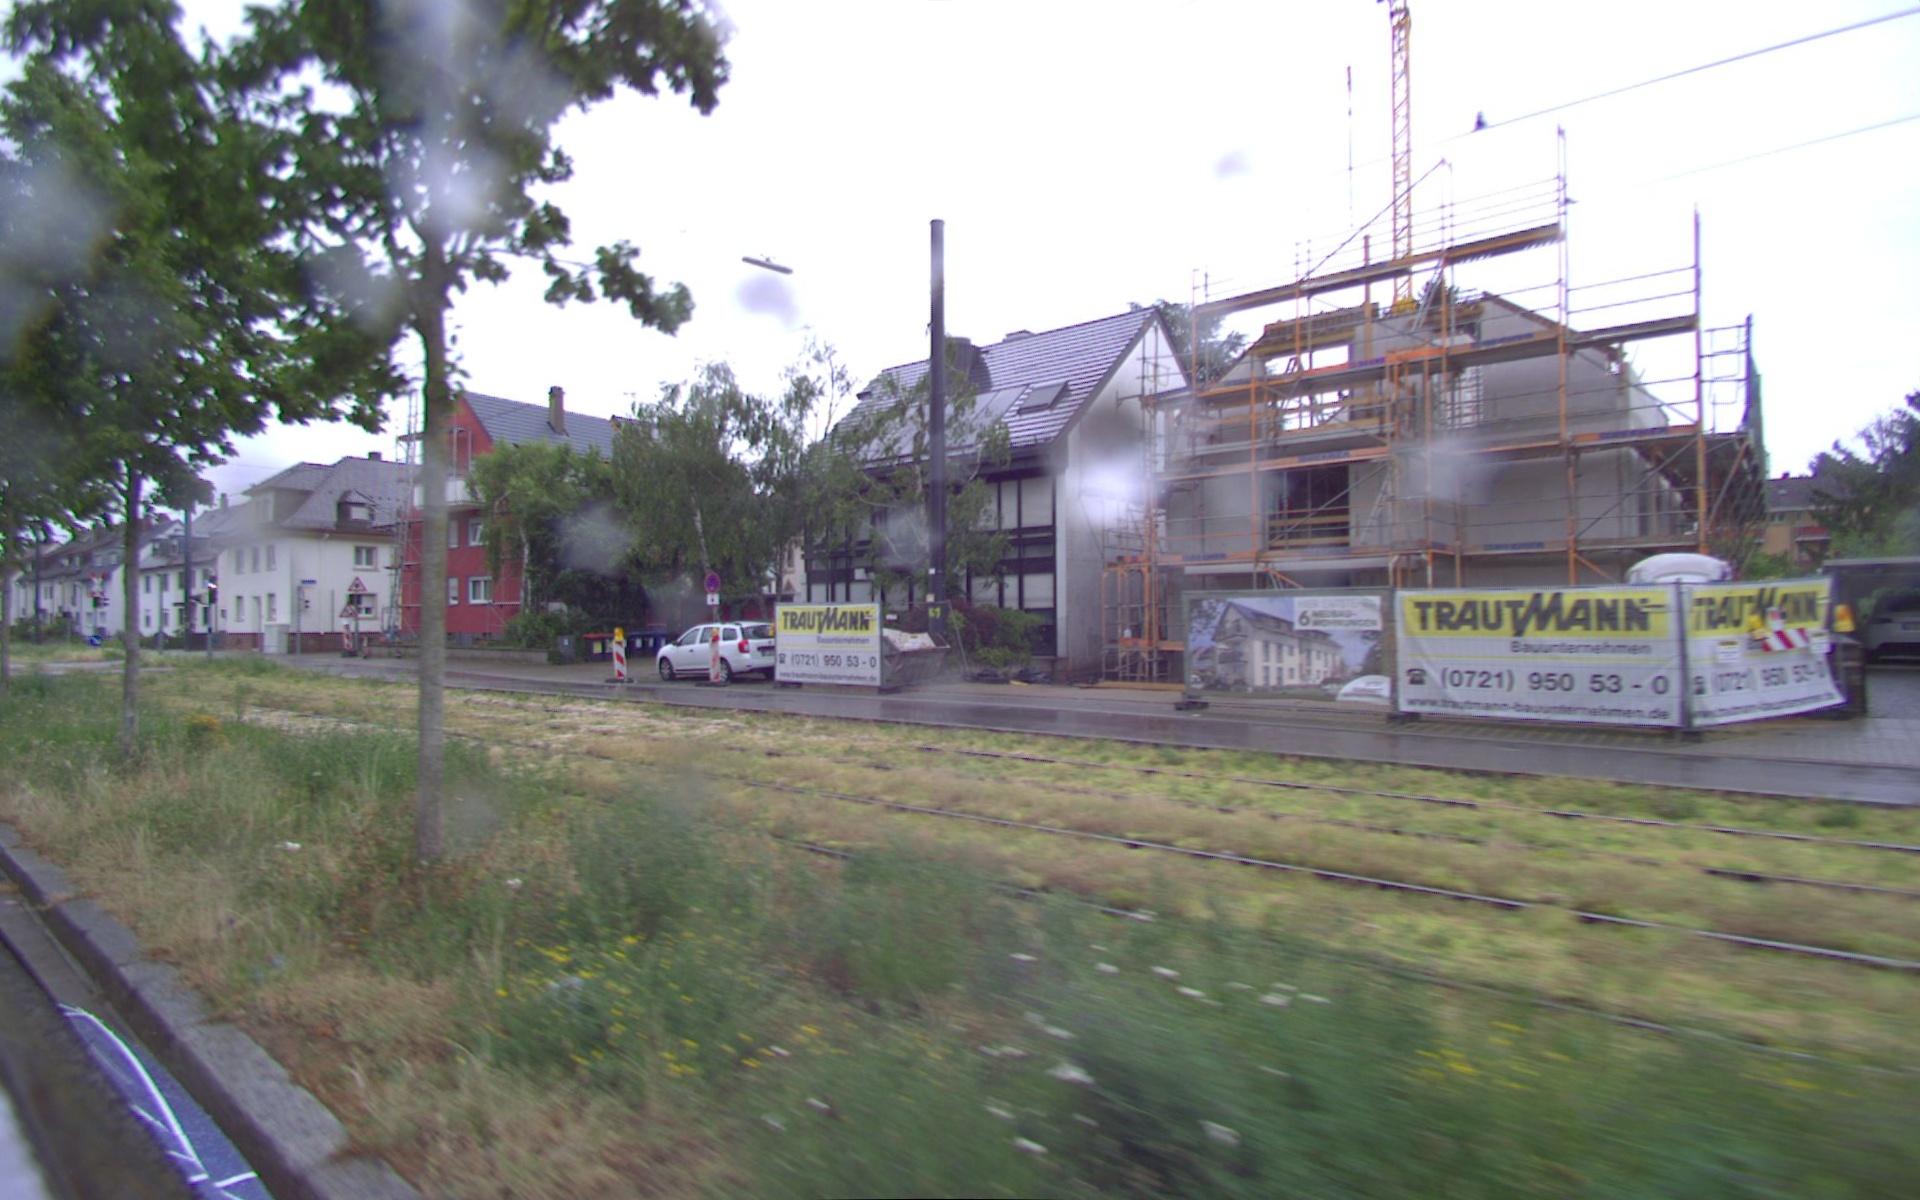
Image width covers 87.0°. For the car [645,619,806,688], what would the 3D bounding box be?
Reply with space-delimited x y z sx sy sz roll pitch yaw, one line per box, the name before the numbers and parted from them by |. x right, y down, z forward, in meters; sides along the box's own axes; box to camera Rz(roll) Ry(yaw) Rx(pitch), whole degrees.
car | -6.286 1.352 26.931 4.246 1.640 1.974 -1 0 39

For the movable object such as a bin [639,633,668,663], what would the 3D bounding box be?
movable object such as a bin | -12.392 1.915 40.896 0.821 1.156 0.802 -1 0 41

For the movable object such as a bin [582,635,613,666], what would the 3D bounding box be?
movable object such as a bin | -13.975 1.937 38.996 0.821 1.156 0.802 -1 0 41

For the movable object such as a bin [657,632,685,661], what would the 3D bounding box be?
movable object such as a bin | -11.868 1.908 41.548 0.821 1.156 0.802 -1 0 41

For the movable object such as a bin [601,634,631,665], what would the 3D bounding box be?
movable object such as a bin | -13.453 1.930 39.605 0.821 1.156 0.802 -1 0 41

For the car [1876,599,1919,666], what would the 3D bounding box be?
car | 23.219 0.736 24.194 1.795 1.497 3.942 -1 0 44

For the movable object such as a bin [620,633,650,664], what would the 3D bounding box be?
movable object such as a bin | -12.920 1.923 40.240 0.821 1.156 0.802 -1 0 41
